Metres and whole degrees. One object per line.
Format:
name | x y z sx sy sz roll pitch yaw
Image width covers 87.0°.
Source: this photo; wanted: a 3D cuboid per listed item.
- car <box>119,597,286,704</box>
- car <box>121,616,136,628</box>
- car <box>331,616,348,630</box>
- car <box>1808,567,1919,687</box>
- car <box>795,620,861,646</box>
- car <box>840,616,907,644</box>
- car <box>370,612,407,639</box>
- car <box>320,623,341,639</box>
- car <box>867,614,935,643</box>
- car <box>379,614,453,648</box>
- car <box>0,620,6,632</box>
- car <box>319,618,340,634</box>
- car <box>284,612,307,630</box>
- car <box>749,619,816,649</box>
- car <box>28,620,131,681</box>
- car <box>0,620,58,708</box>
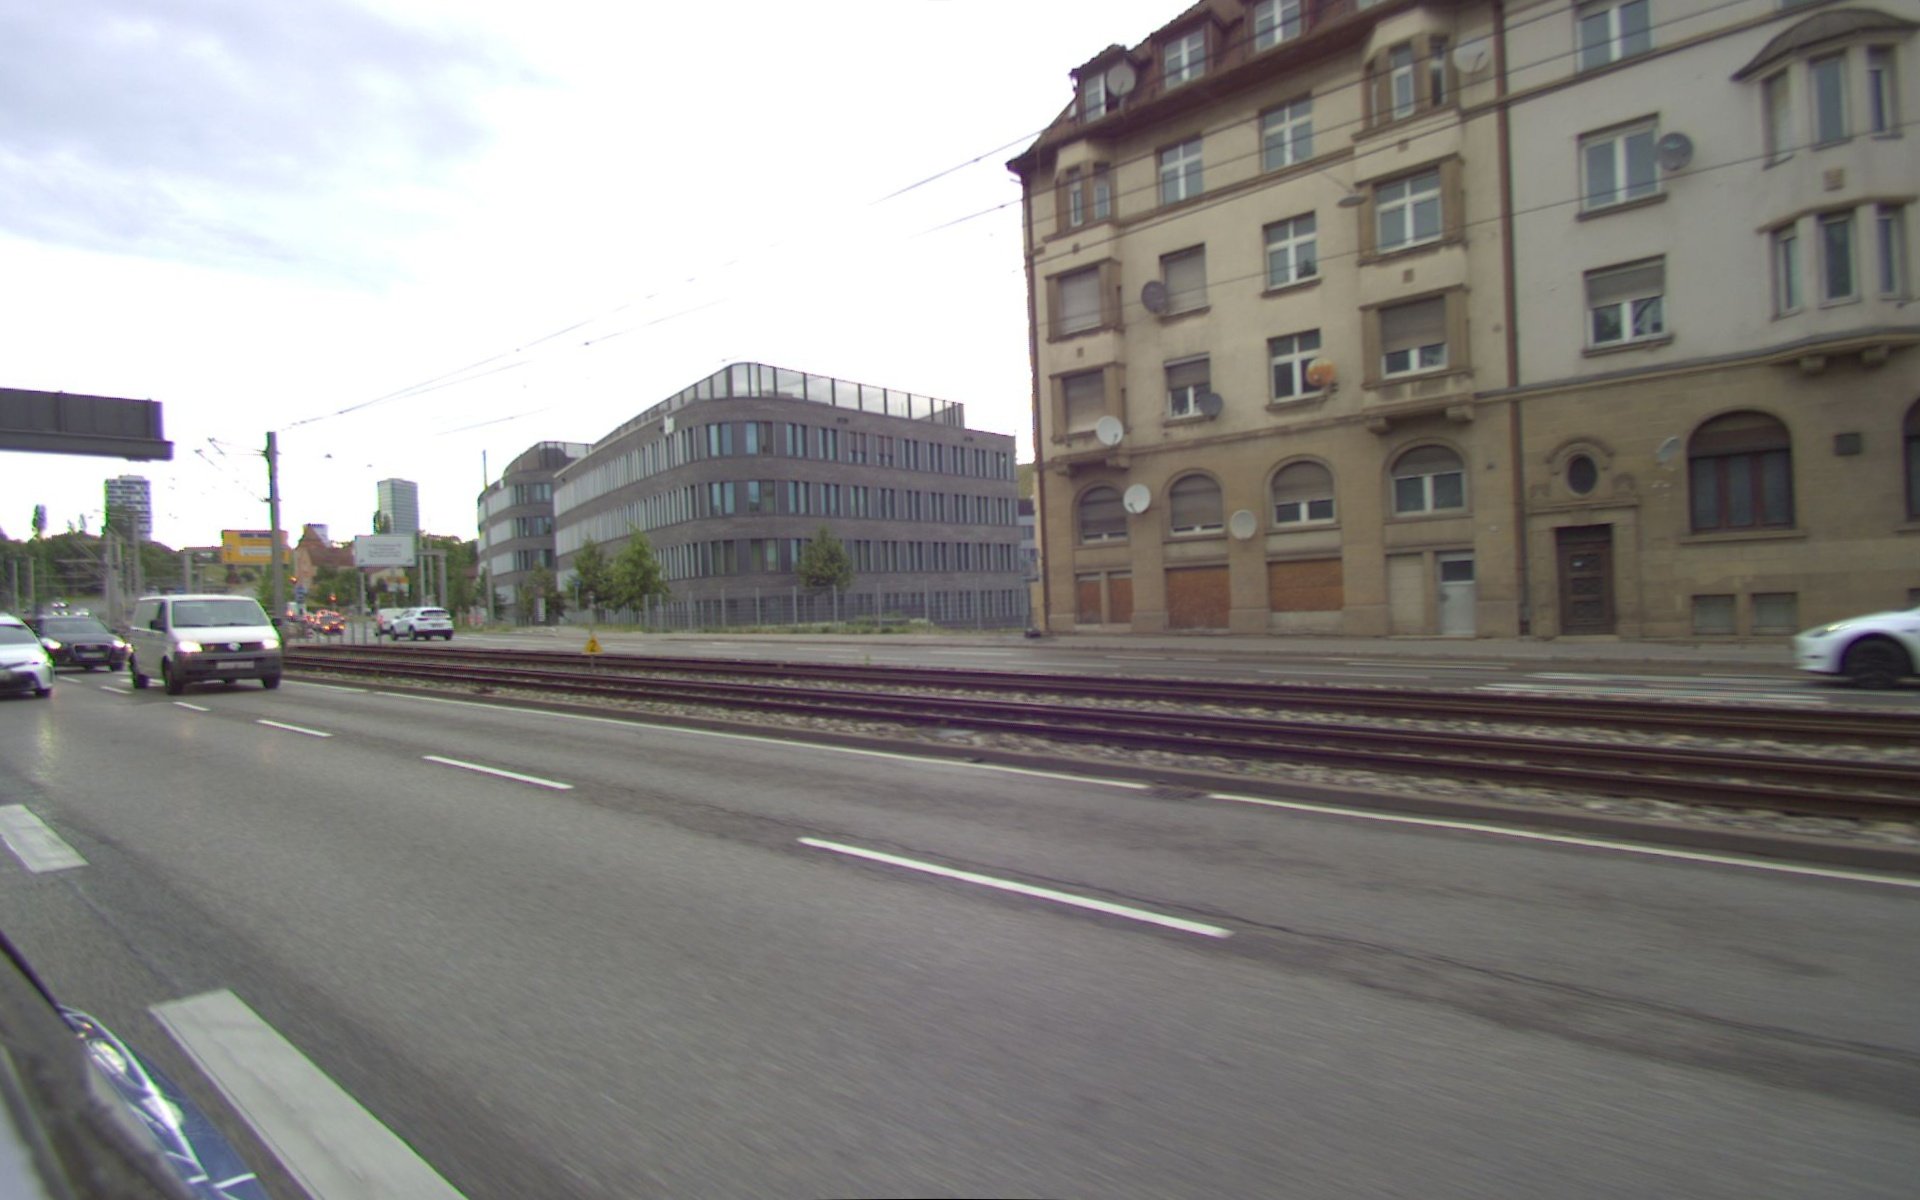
car | -15.910 0.994 21.158 4.716 1.973 1.889 -2 0 42
car | -142.101 3.784 172.985 1.969 1.962 4.006 0 0 -40
car | -83.762 3.118 136.587 1.807 1.811 4.226 1 -2 -35
car | 14.341 0.348 13.390 4.739 1.604 1.703 -2 -2 40
car | -7.166 1.763 54.712 3.566 1.345 1.601 -1 0 41
car | -5.056 1.716 58.752 3.787 1.556 1.722 -1 0 41
car | -39.000 1.758 68.976 1.807 1.811 4.226 1 -2 -35
car | -70.868 3.465 113.899 1.807 1.811 4.226 1 -2 -35
car | -3.575 1.677 60.905 3.998 1.666 1.722 -1 0 41
car | -27.204 1.552 50.565 4.485 1.609 1.728 -2 0 40
car | -161.552 4.347 169.573 3.998 2.029 1.973 -1 0 41
car | -74.242 3.059 119.137 1.807 1.811 4.226 1 -2 -35
car | -94.716 2.982 144.223 2.301 2.486 7.043 0 0 -36
car | -9.170 1.730 52.106 3.566 1.447 1.525 -1 0 41
car | -25.033 1.386 28.735 3.894 1.585 1.686 -2 -1 41
car | -19.330 1.223 19.838 4.317 1.585 1.956 -2 -1 41
